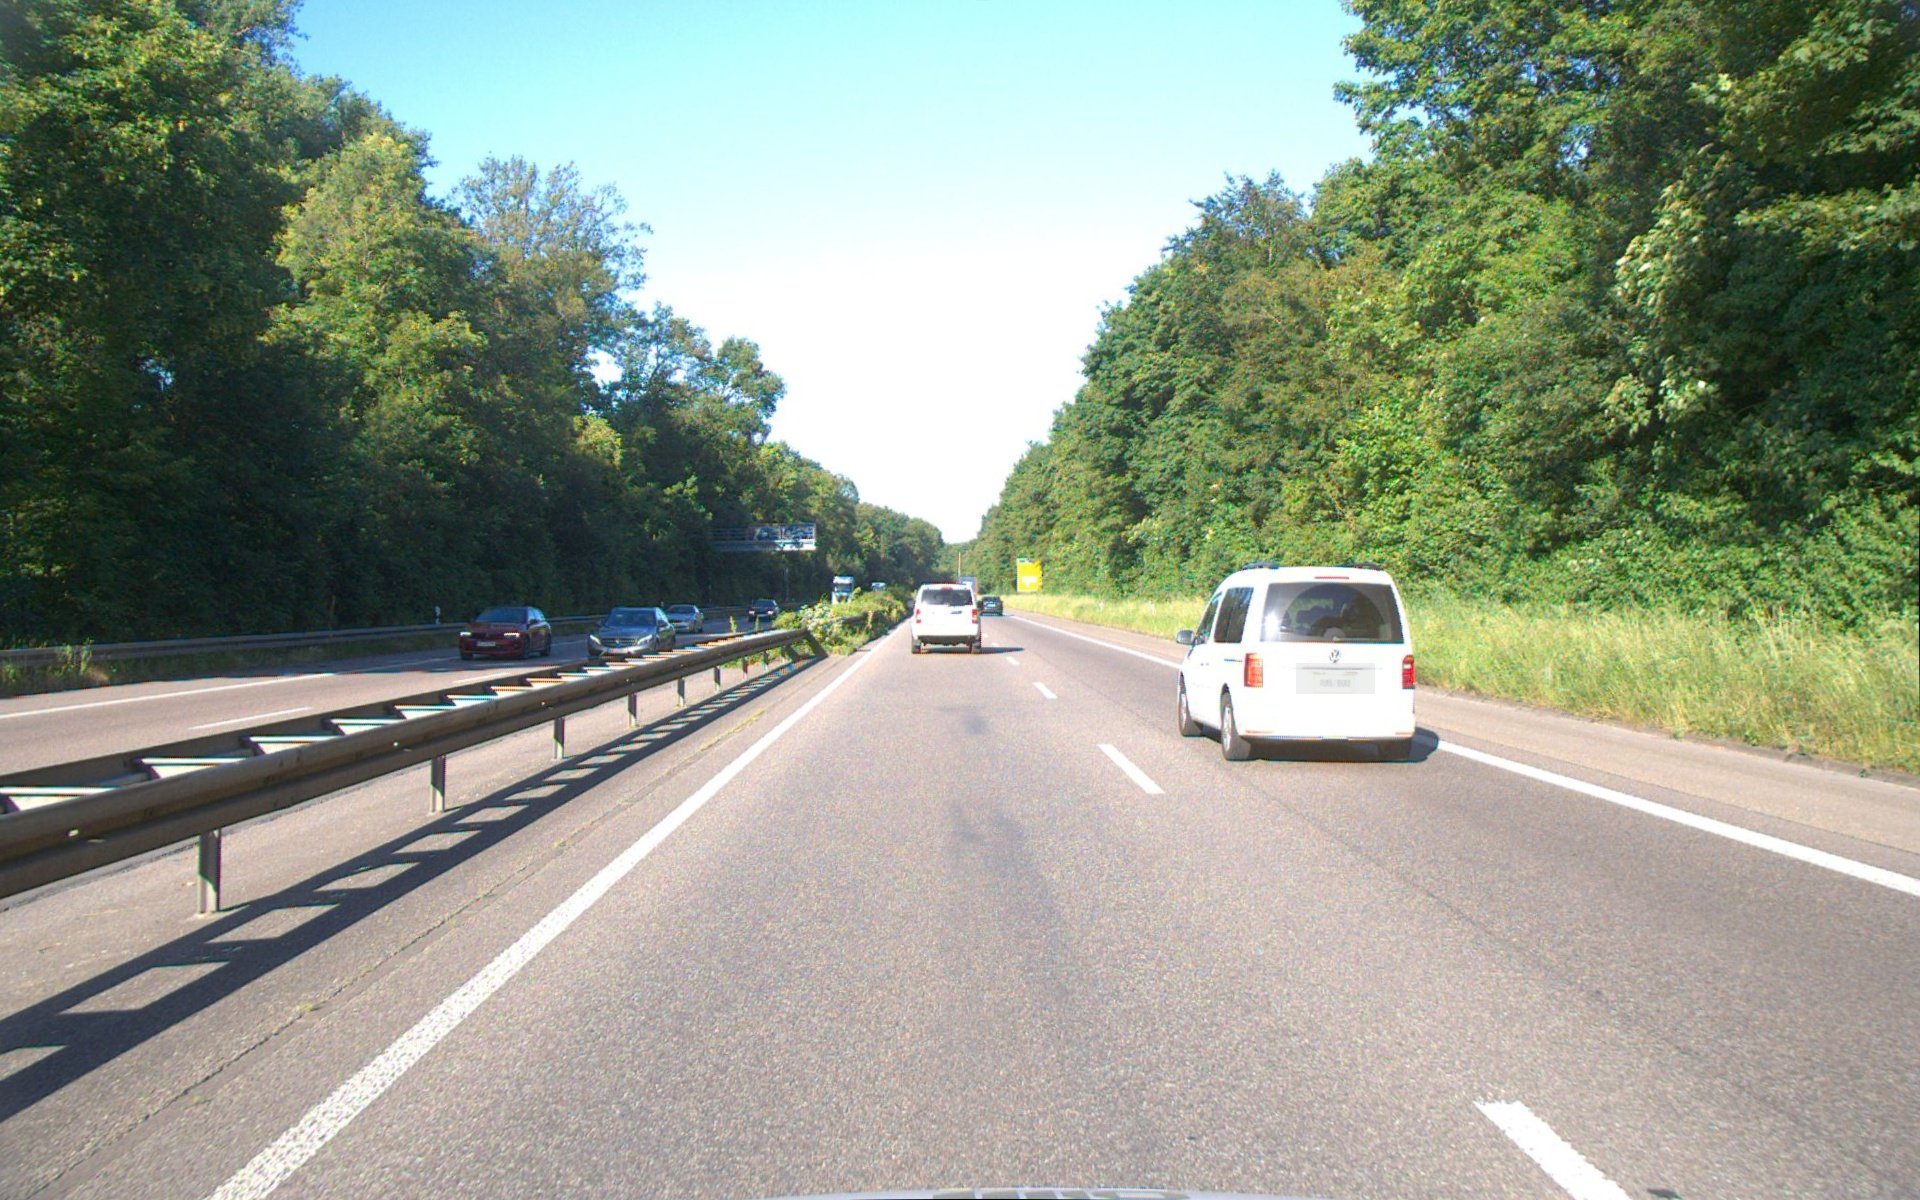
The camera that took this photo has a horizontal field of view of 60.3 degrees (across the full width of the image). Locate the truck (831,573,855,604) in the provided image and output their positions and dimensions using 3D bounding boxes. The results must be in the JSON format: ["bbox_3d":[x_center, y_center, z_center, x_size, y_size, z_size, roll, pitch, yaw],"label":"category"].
[{"bbox_3d":[-14.514,-1.443,206.175,2.706,3.777,7.853,-1,0,-3],"label":"truck"}]

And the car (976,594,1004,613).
[{"bbox_3d":[2.213,0.246,122.938,1.953,1.422,3.999,1,0,-1],"label":"car"}]

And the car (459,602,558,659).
[{"bbox_3d":[-12.606,0.827,46.391,1.683,1.470,4.227,-1,0,-1],"label":"car"}]

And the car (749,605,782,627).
[{"bbox_3d":[-12.718,1.043,108.300,1.682,1.380,3.946,0,0,0],"label":"car"}]

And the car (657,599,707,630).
[{"bbox_3d":[-12.909,0.650,76.950,1.683,1.380,4.227,-1,0,-1],"label":"car"}]

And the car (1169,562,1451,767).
[{"bbox_3d":[3.380,0.555,16.846,1.826,1.801,4.468,0,0,-1],"label":"car"}]

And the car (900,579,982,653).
[{"bbox_3d":[-0.550,0.394,43.720,2.043,1.860,3.998,0,0,-3],"label":"car"}]

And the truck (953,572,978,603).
[{"bbox_3d":[0.774,-1.785,235.909,3.425,4.245,8.860,-1,0,-1],"label":"truck"}]

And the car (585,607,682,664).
[{"bbox_3d":[-8.705,0.914,44.418,1.798,1.380,4.474,0,0,-1],"label":"car"}]
